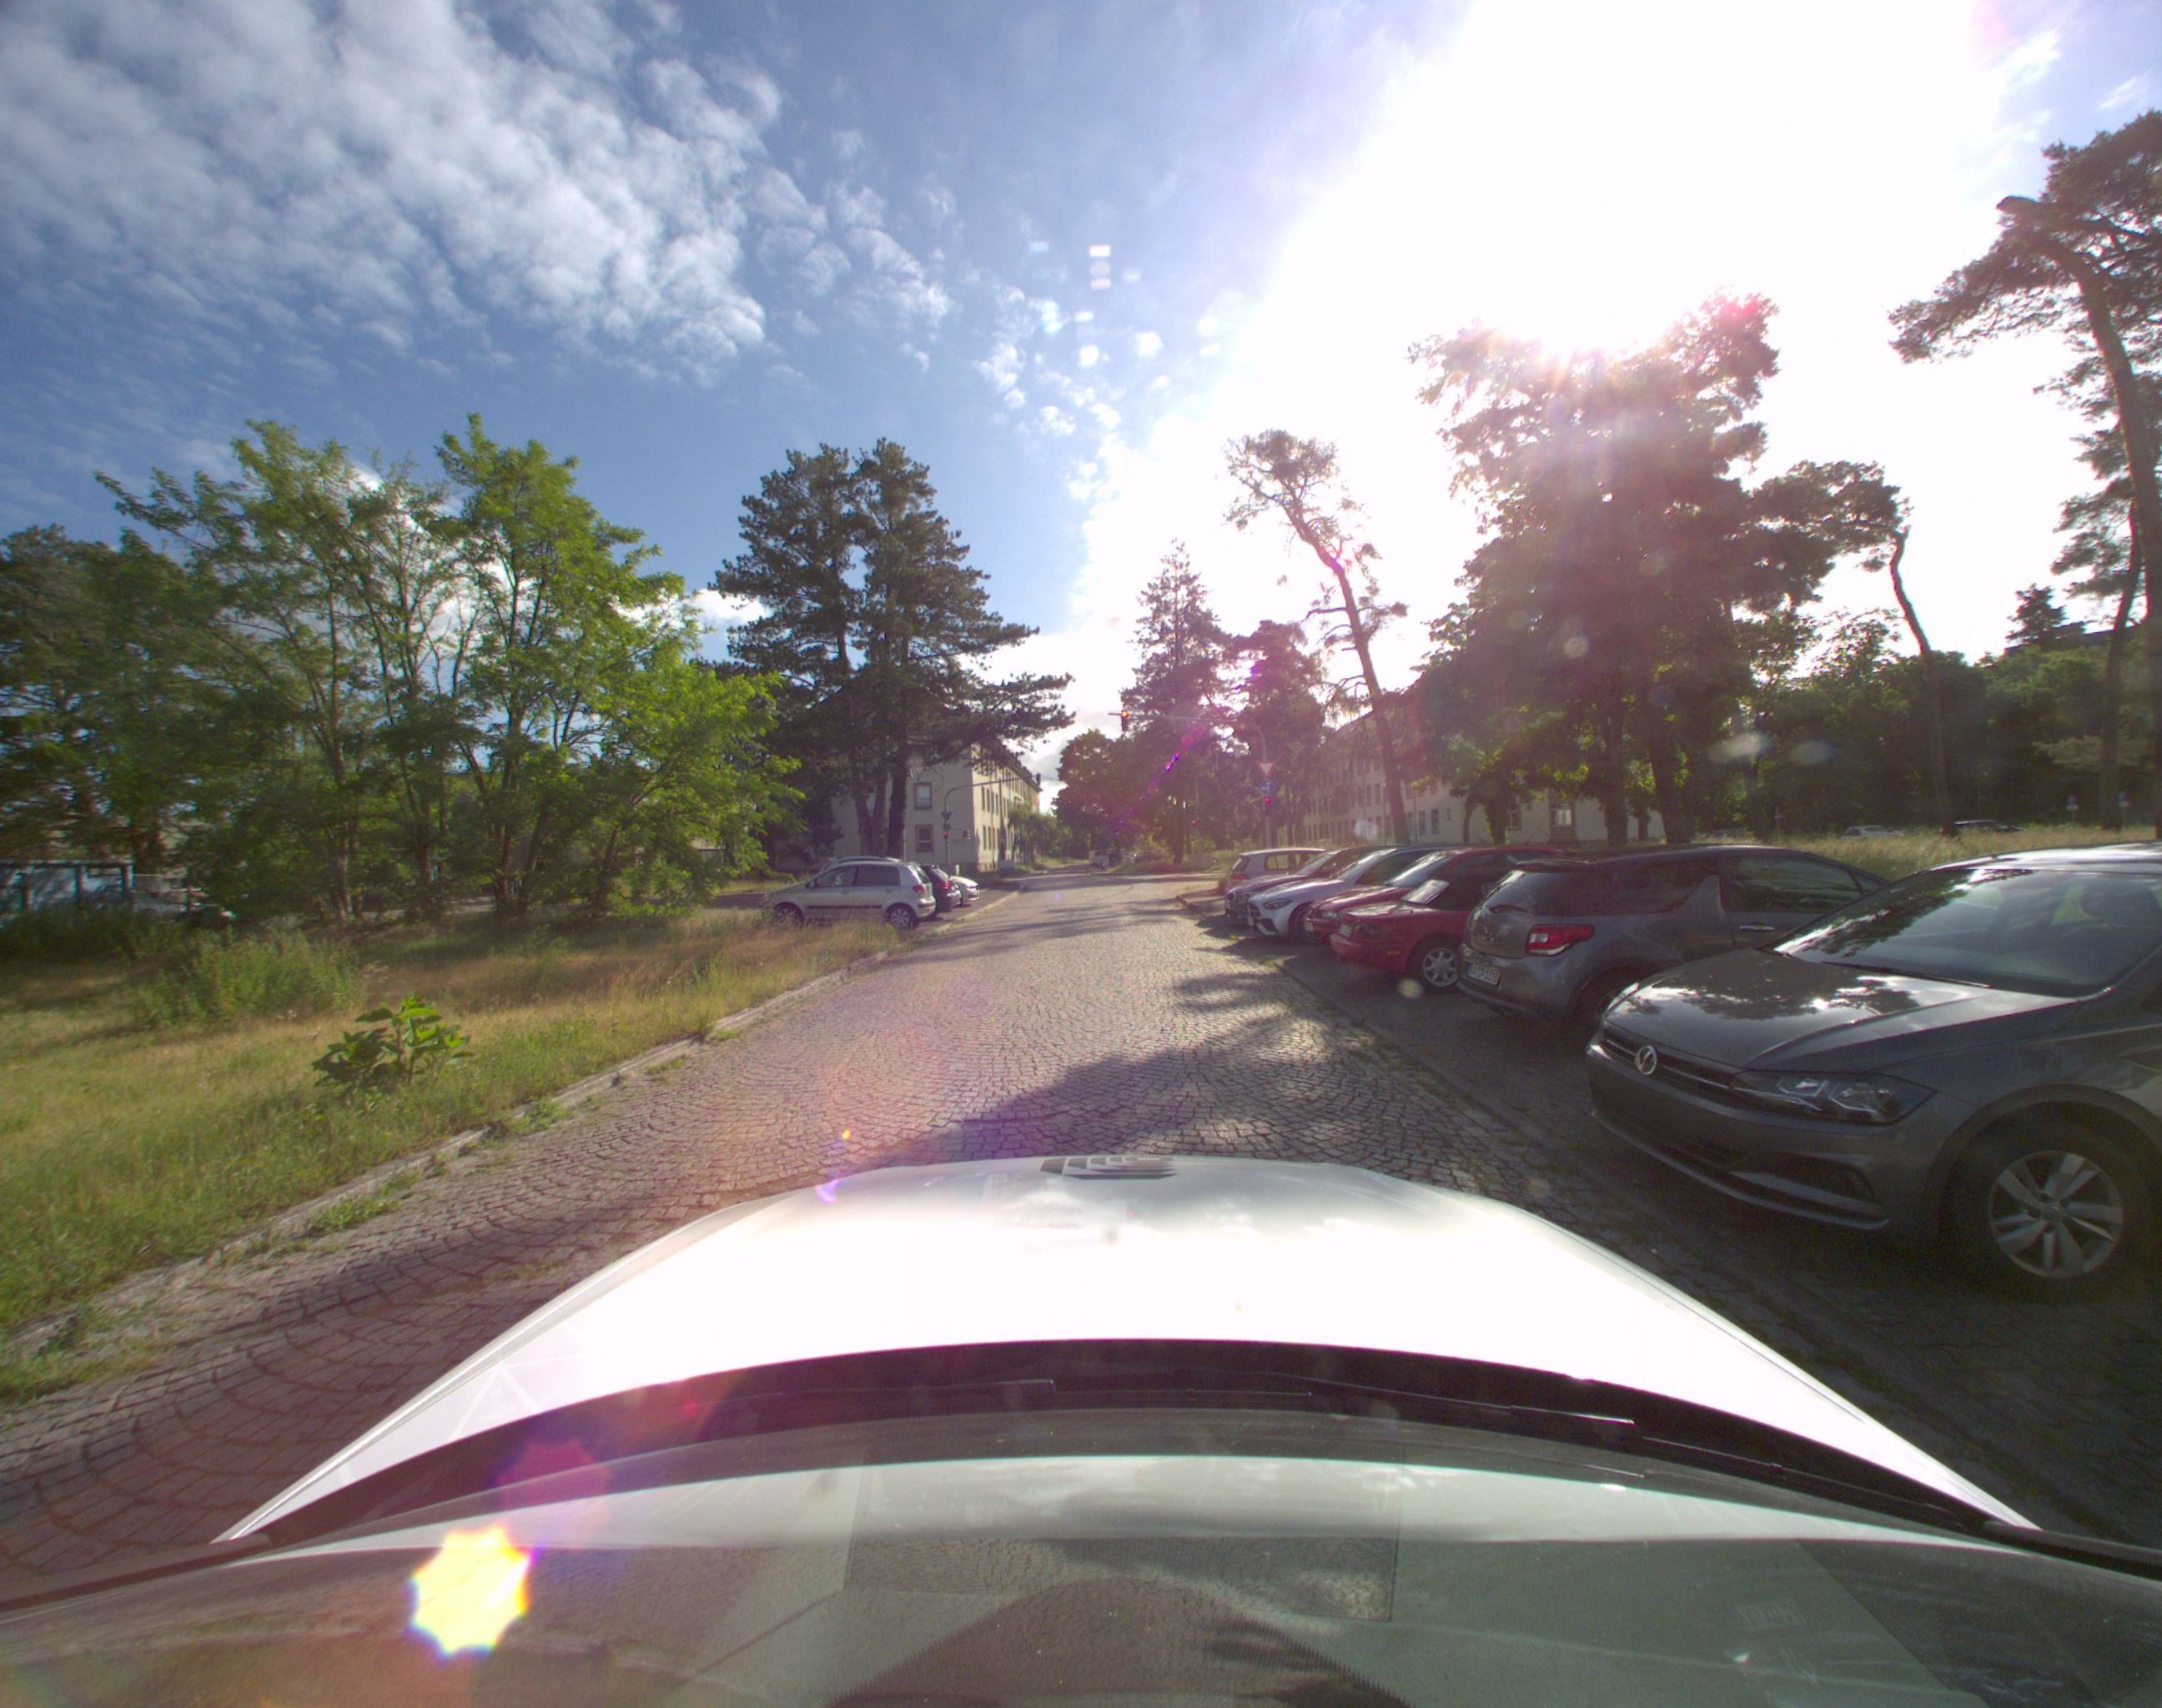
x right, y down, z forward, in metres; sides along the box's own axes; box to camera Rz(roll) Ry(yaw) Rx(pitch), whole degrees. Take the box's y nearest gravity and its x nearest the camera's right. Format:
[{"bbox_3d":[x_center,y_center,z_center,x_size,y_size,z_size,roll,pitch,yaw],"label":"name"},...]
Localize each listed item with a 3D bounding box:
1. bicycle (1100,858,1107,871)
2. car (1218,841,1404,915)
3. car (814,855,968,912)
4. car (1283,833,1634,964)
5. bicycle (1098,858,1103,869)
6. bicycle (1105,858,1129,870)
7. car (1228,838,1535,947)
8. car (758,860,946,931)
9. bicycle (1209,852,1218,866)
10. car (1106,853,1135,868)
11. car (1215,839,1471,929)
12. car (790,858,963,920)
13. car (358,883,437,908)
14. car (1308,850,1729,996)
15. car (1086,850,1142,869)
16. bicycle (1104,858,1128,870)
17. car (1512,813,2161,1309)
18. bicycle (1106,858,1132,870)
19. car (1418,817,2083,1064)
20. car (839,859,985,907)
[{"bbox_3d":[1.789,0.813,64.380,0.466,1.010,1.585,0,-1,-2],"label":"bicycle"},{"bbox_3d":[5.271,0.532,19.016,3.867,1.415,1.637,-4,0,2],"label":"car"},{"bbox_3d":[-5.488,0.835,23.882,4.069,1.593,1.884,0,0,-2],"label":"car"},{"bbox_3d":[5.112,0.579,11.435,4.112,1.449,1.637,-4,0,2],"label":"car"},{"bbox_3d":[1.848,0.897,77.644,0.415,1.010,1.484,0,-1,2],"label":"bicycle"},{"bbox_3d":[3.078,0.858,69.673,2.002,1.010,0.631,0,-1,-6],"label":"bicycle"},{"bbox_3d":[4.812,0.592,13.527,4.415,1.415,1.782,-4,0,2],"label":"car"},{"bbox_3d":[-5.043,0.887,18.287,3.736,1.487,1.645,0,0,-2],"label":"car"},{"bbox_3d":[9.047,0.357,55.734,0.300,0.961,1.585,0,-1,-2],"label":"bicycle"},{"bbox_3d":[3.957,0.630,82.426,2.775,1.467,1.669,0,-1,-3],"label":"car"},{"bbox_3d":[5.082,0.565,16.239,4.542,1.415,1.637,-4,0,2],"label":"car"},{"bbox_3d":[-5.148,0.864,20.912,3.976,1.480,1.802,0,0,-2],"label":"car"},{"bbox_3d":[-46.567,2.791,55.599,1.895,1.433,4.002,-2,-1,2],"label":"car"},{"bbox_3d":[4.619,0.694,9.046,3.693,1.223,1.747,-4,0,2],"label":"car"},{"bbox_3d":[3.475,0.586,86.012,5.534,2.014,1.989,0,-1,-17],"label":"car"},{"bbox_3d":[3.031,0.867,70.557,2.025,1.010,0.626,0,-1,-6],"label":"bicycle"},{"bbox_3d":[4.212,0.616,3.499,3.693,1.449,1.857,-4,0,2],"label":"car"},{"bbox_3d":[3.189,0.842,67.989,2.106,1.010,0.619,0,-1,-6],"label":"bicycle"},{"bbox_3d":[4.910,0.586,6.437,3.694,1.449,1.817,-4,0,1],"label":"car"},{"bbox_3d":[-5.340,0.912,26.216,4.321,1.468,1.829,0,0,-2],"label":"car"}]
